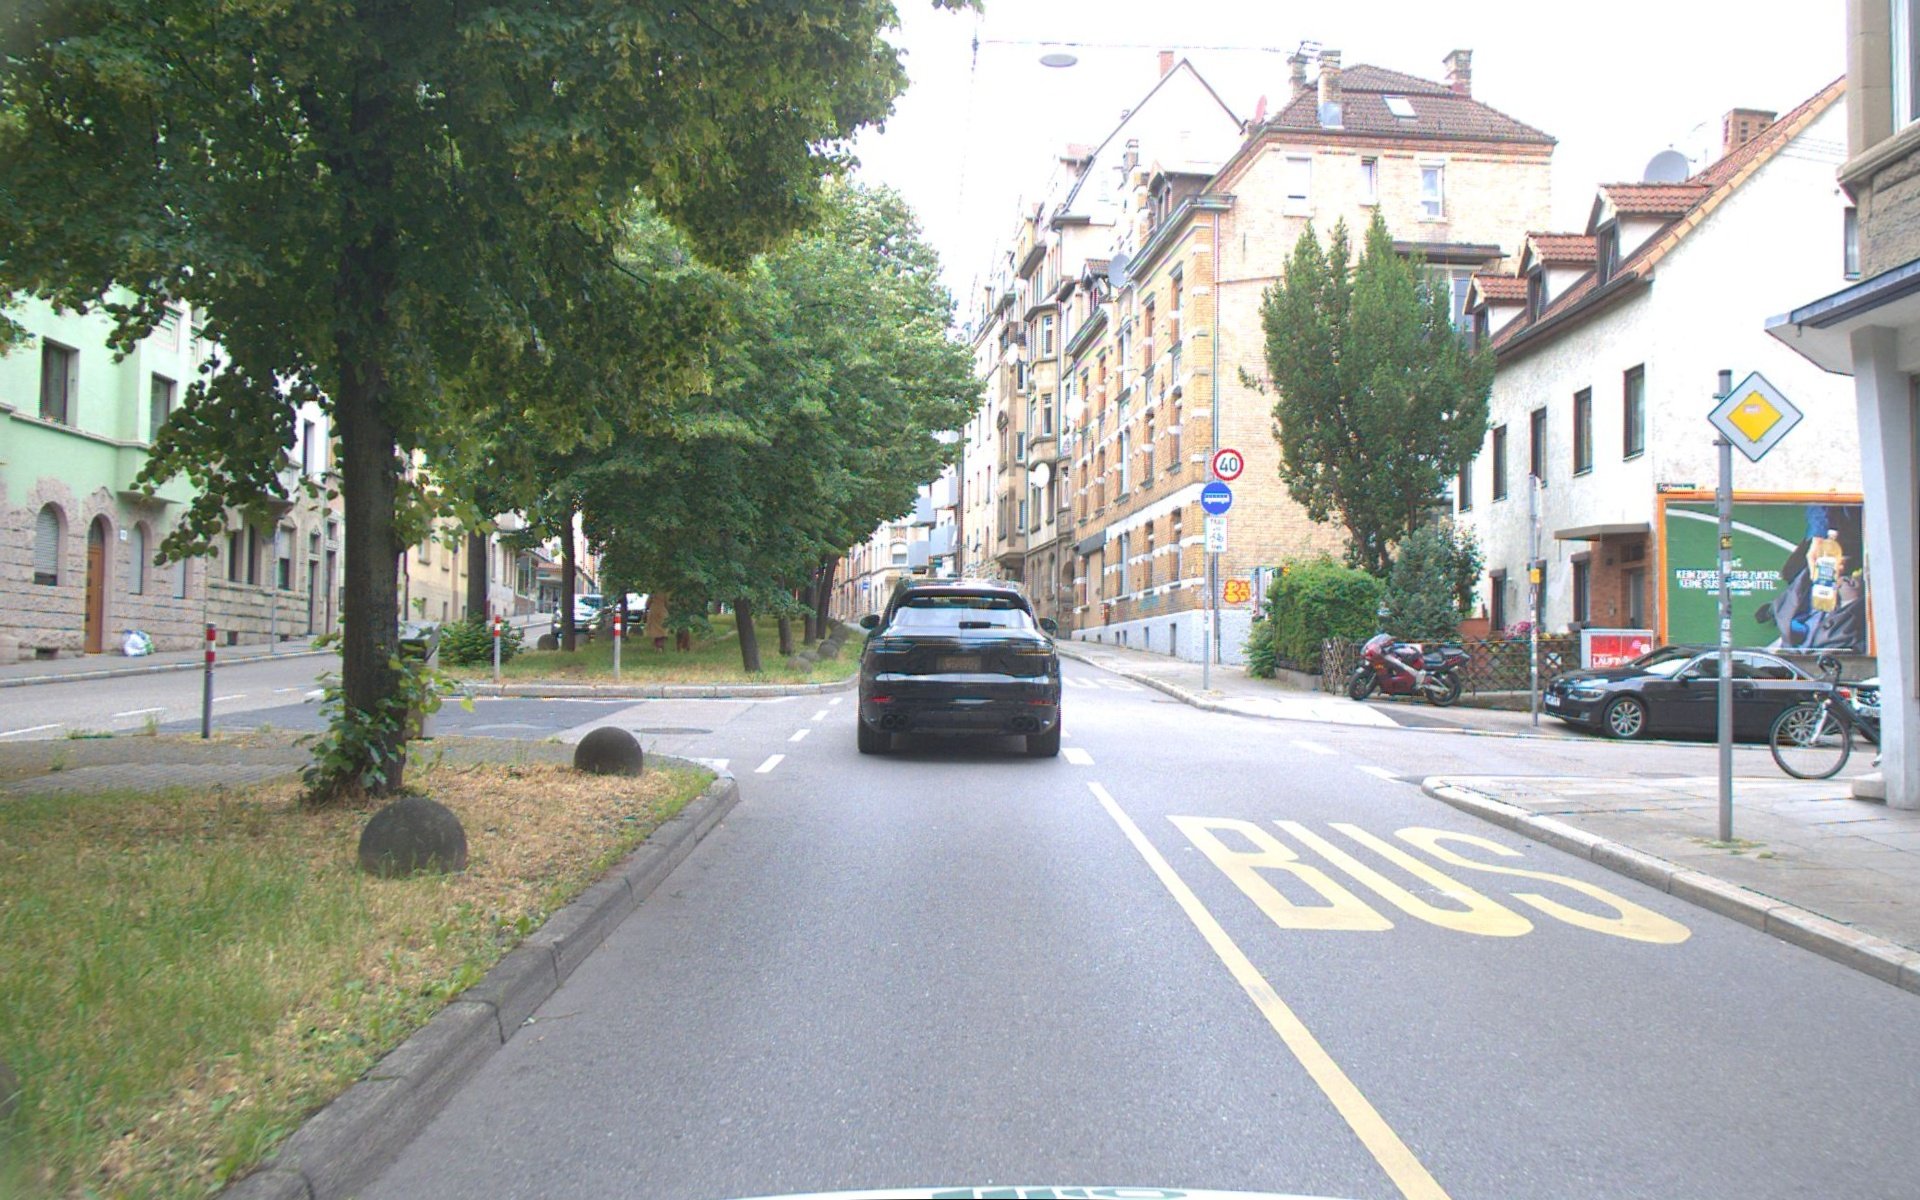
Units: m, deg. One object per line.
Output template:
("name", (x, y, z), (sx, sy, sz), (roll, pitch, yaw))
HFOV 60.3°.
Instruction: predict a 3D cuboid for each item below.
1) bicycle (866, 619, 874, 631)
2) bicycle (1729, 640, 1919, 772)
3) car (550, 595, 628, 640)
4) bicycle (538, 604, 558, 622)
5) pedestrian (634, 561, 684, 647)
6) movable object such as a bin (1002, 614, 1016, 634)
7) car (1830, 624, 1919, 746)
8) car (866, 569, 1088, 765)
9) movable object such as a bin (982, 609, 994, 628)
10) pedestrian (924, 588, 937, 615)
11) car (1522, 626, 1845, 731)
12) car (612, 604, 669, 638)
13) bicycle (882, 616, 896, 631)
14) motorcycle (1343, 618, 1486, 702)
("bicycle", (-8.068, 2.268, 148.394), (0.438, 1.055, 2.243), (1, -3, -10))
("bicycle", (8.275, 0.990, 15.247), (0.637, 1.160, 2.040), (6, -7, -44))
("car", (-12.921, 0.578, 57.811), (1.673, 1.406, 4.668), (-1, 1, 0))
("bicycle", (-26.958, 0.878, 108.163), (0.754, 1.104, 2.016), (3, -3, -29))
("pedestrian", (-6.369, 0.091, 35.031), (0.816, 1.742, 1.122), (-3, -2, -1))
("movable object such as a bin", (2.320, 1.129, 78.349), (0.583, 0.920, 0.562), (2, -1, -6))
("car", (15.896, 1.371, 25.295), (4.219, 1.693, 1.873), (3, 1, -7))
("car", (0.061, 0.604, 16.936), (1.954, 1.694, 3.998), (2, 0, -3))
("movable object such as a bin", (1.469, 0.977, 86.875), (0.583, 0.920, 0.502), (2, -5, -6))
("pedestrian", (-1.963, 0.107, 109.498), (0.737, 1.723, 0.857), (0, -2, -7))
("car", (10.778, 1.156, 24.827), (4.043, 1.307, 1.782), (1, 3, -4))
("car", (-14.814, 0.961, 76.895), (1.722, 1.406, 4.668), (-1, 1, 0))
("bicycle", (-5.892, 1.957, 137.715), (0.862, 1.149, 2.973), (2, -2, -8))
("motorcycle", (7.498, 0.982, 27.355), (2.015, 1.290, 1.009), (2, 0, -6))
